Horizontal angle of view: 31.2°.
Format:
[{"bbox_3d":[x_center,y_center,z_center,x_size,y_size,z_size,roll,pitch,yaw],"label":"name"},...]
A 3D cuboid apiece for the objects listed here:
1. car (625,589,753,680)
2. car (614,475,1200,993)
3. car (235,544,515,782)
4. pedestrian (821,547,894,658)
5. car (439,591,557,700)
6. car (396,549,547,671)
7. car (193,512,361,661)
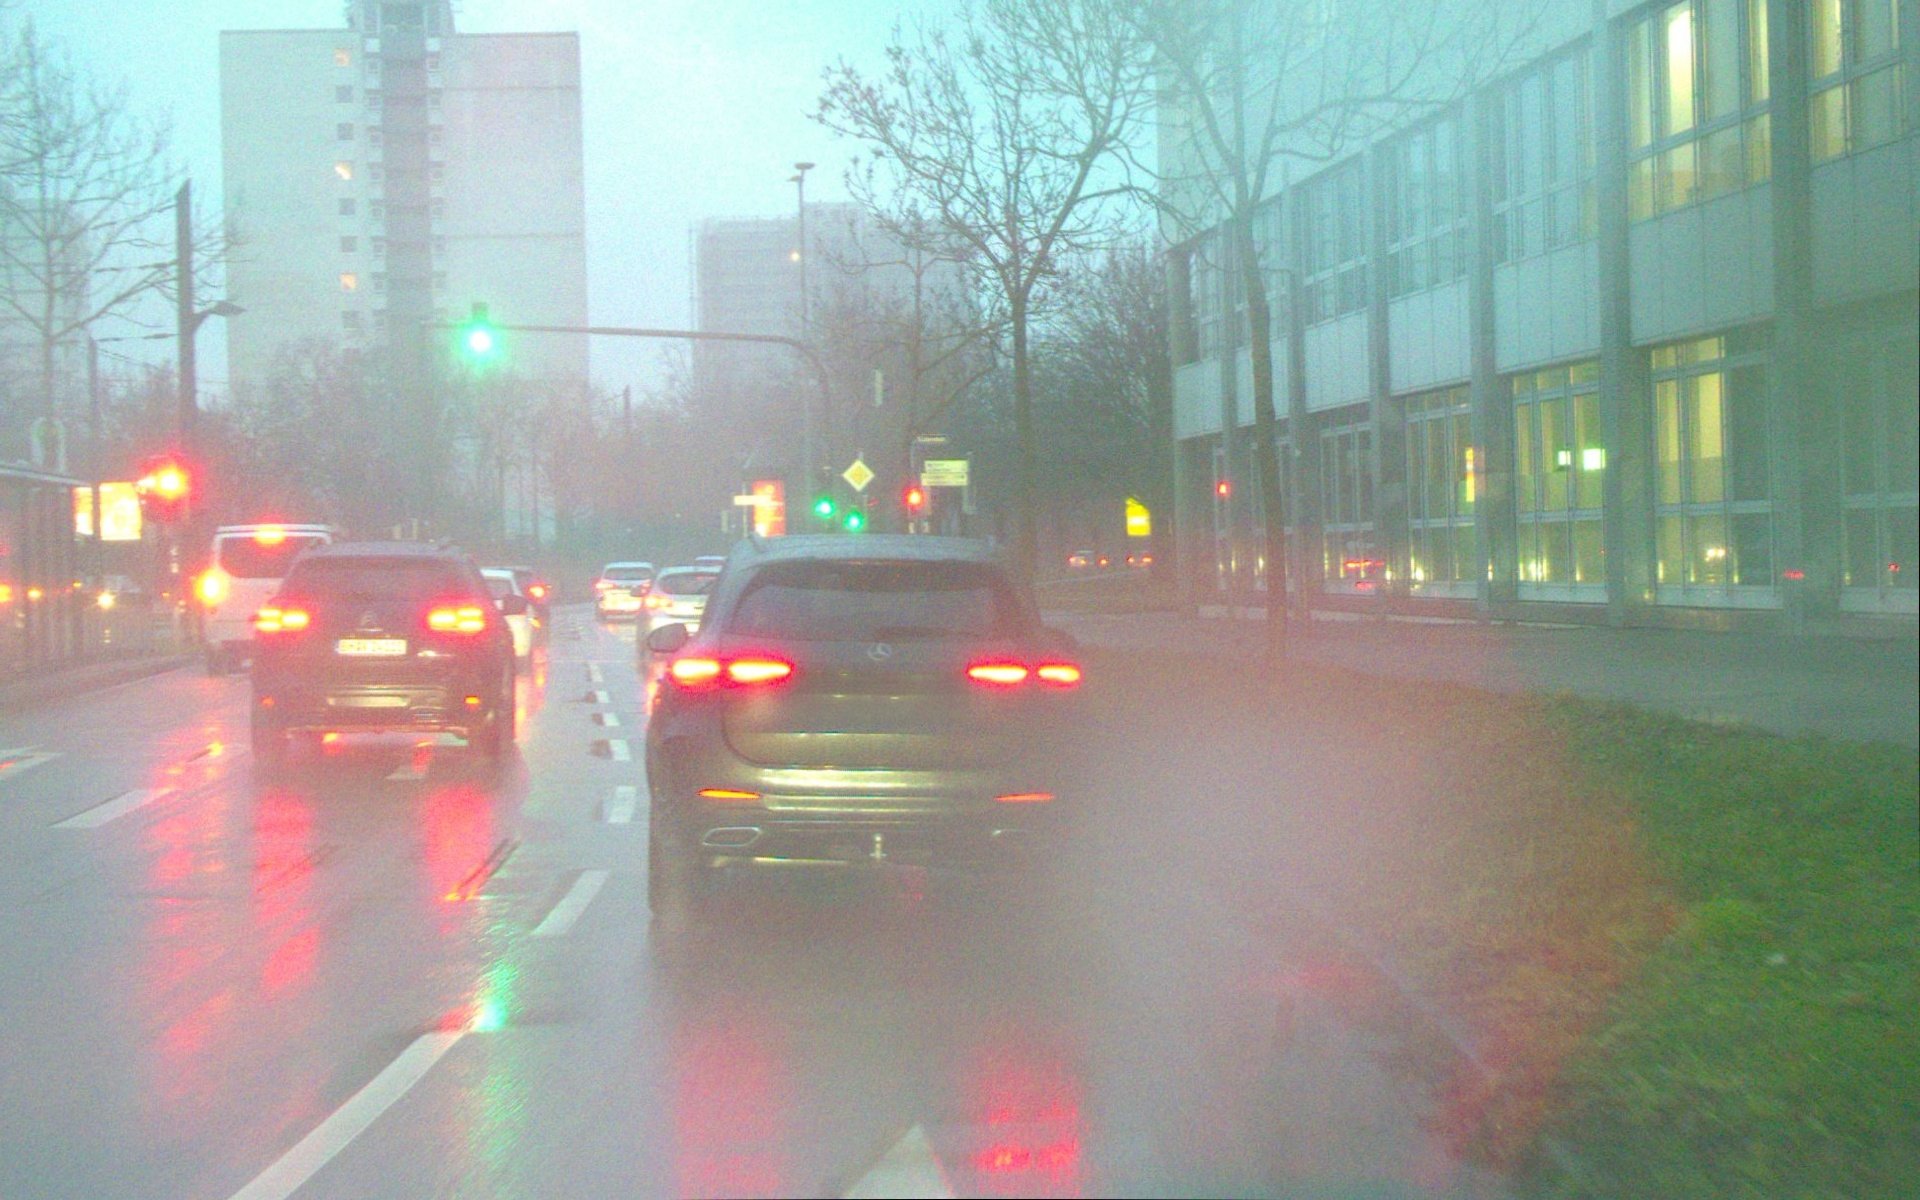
[{"bbox_3d":[-4.412,0.522,55.562,1.886,1.349,4.102,0,1,-7],"label":"car"},{"bbox_3d":[-0.392,0.518,15.227,1.993,1.969,4.069,0,0,-10],"label":"car"},{"bbox_3d":[-4.519,0.471,27.061,1.993,1.706,4.325,0,0,-8],"label":"car"},{"bbox_3d":[-1.711,0.034,57.521,0.796,1.744,0.861,-5,1,21],"label":"pedestrian"},{"bbox_3d":[-8.793,0.857,65.704,1.993,2.007,4.000,0,0,-4],"label":"car"},{"bbox_3d":[-6.851,0.152,48.567,1.993,1.637,4.023,0,0,-6],"label":"car"},{"bbox_3d":[-9.870,-0.211,50.013,1.952,2.026,4.884,-1,1,-6],"label":"car"}]
